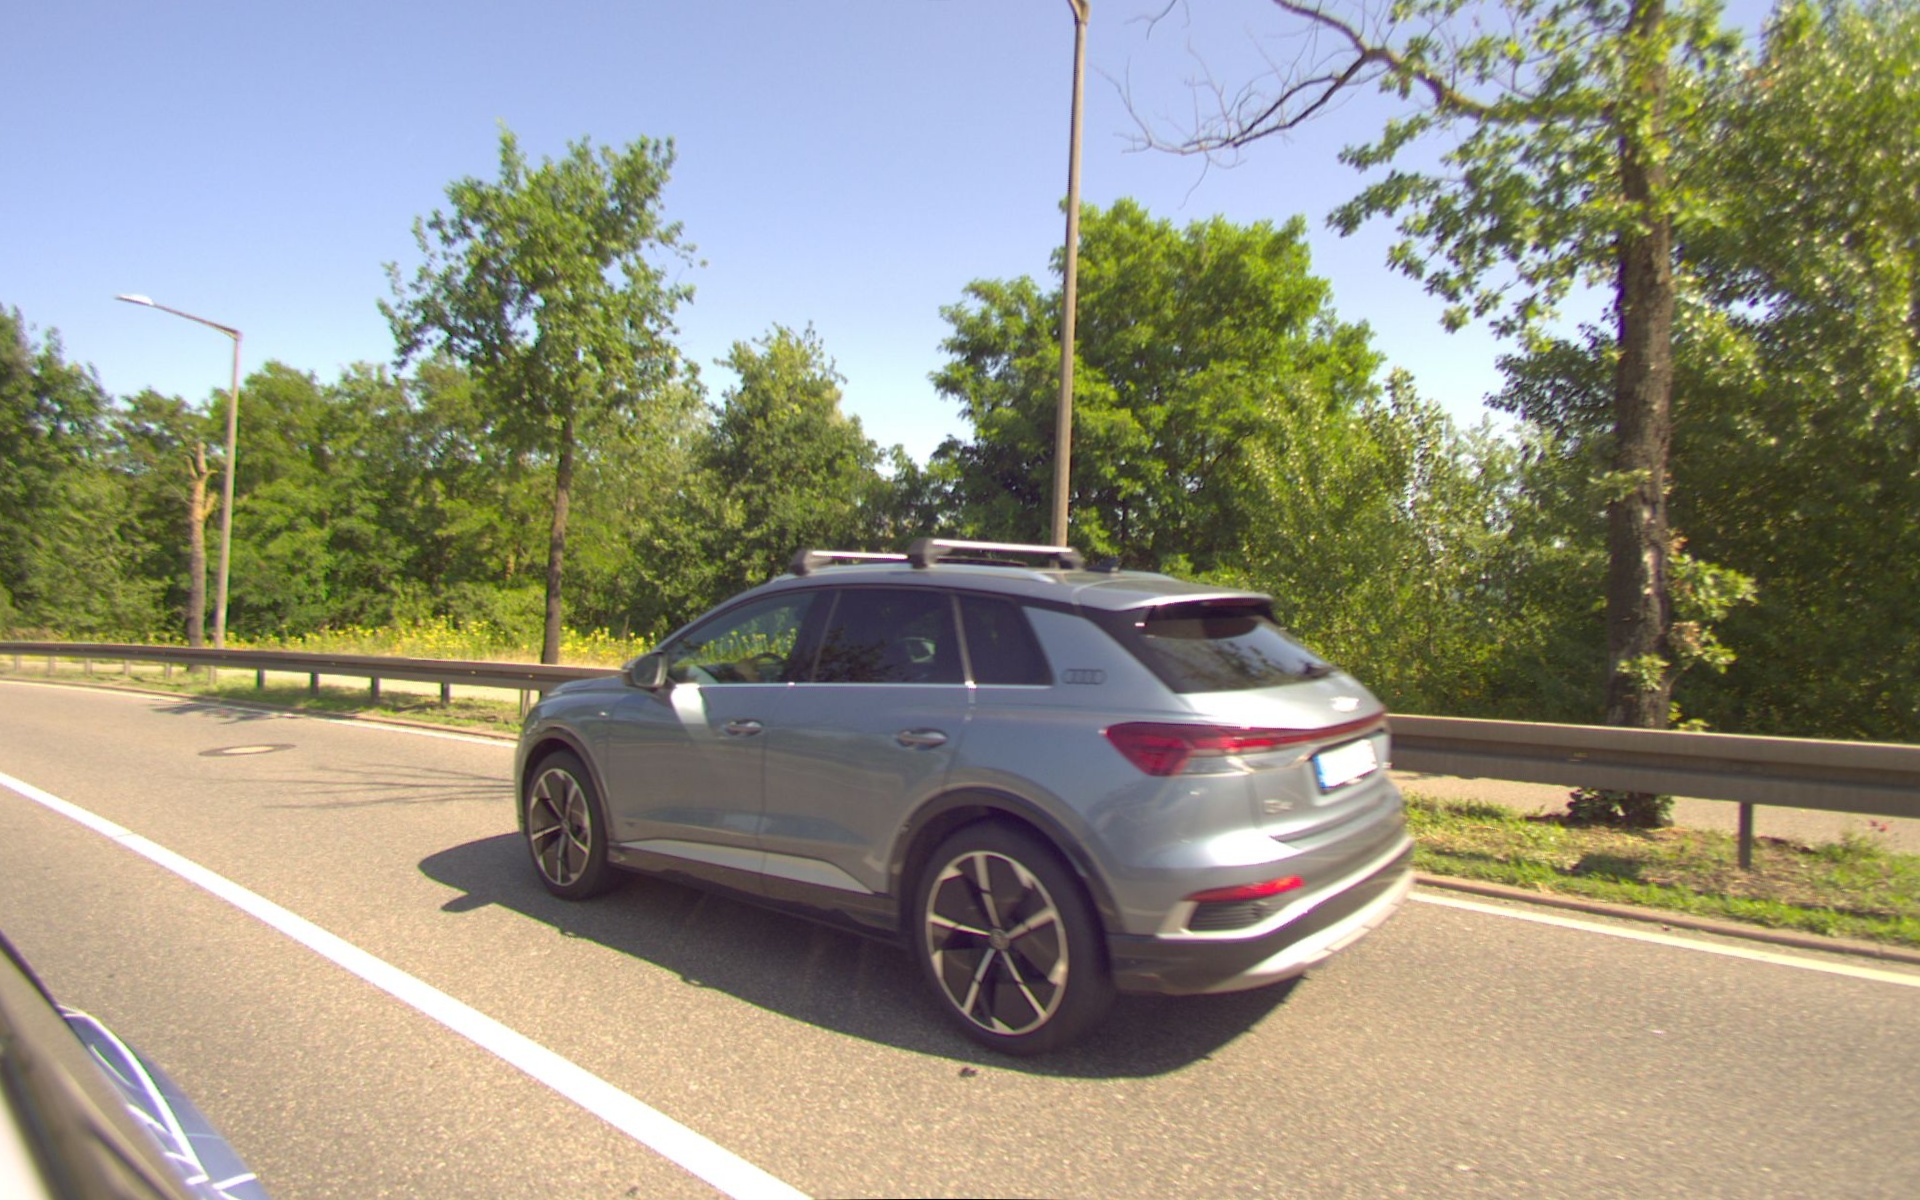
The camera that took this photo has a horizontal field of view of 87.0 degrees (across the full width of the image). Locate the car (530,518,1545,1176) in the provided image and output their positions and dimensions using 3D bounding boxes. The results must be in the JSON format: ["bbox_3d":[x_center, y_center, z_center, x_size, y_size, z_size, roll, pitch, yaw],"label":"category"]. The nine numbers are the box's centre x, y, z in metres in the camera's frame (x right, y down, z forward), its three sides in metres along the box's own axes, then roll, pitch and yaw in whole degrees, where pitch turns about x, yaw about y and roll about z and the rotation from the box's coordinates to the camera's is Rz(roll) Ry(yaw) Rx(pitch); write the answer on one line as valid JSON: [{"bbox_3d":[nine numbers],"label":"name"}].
[{"bbox_3d":[0.029,0.622,4.459,4.115,1.545,1.910,-2,-1,41],"label":"car"}]
